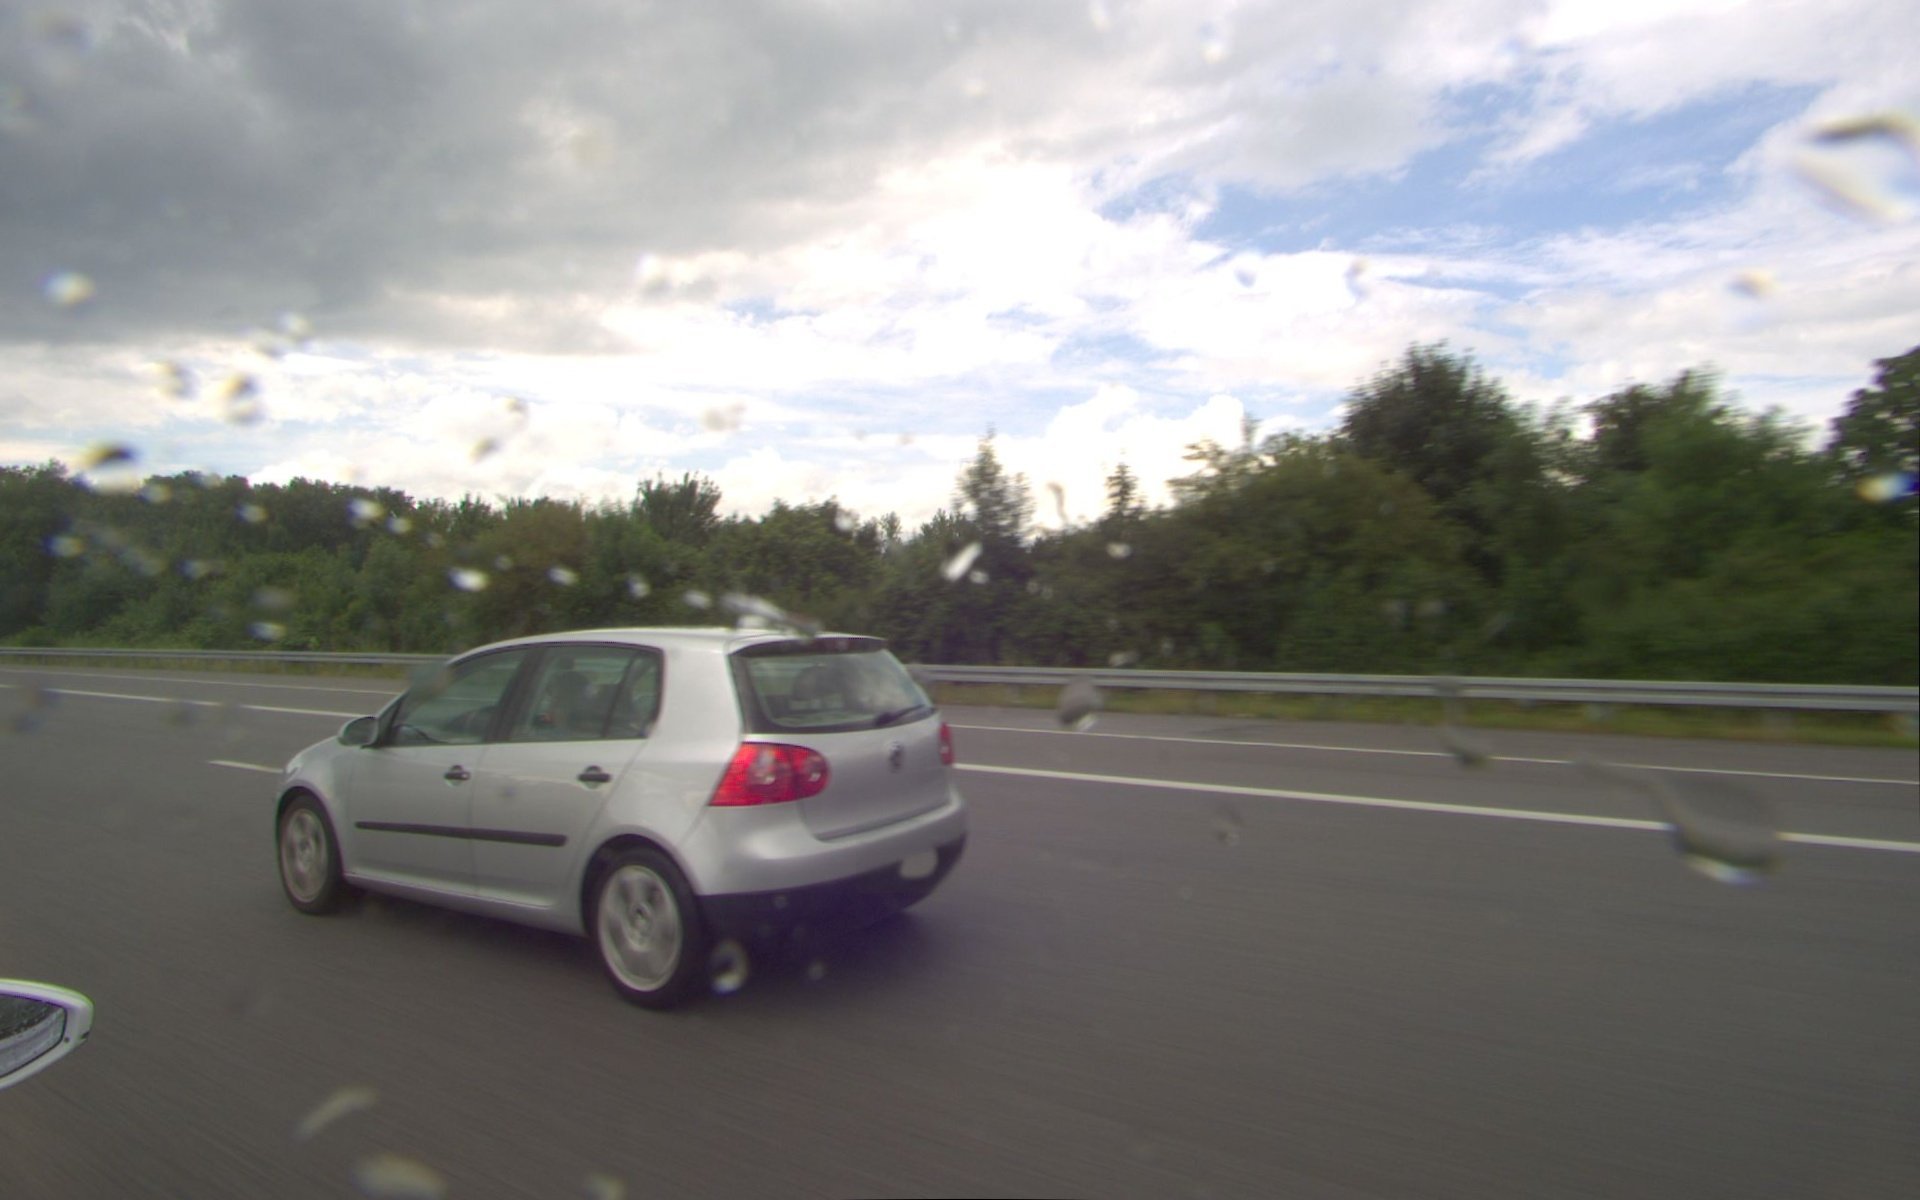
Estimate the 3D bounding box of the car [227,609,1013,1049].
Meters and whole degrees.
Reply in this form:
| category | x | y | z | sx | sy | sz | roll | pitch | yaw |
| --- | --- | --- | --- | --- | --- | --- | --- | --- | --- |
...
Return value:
| category | x | y | z | sx | sy | sz | roll | pitch | yaw |
| --- | --- | --- | --- | --- | --- | --- | --- | --- | --- |
| car | -1.889 | 0.821 | 5.231 | 3.979 | 1.496 | 1.792 | -1 | -1 | 32 |
